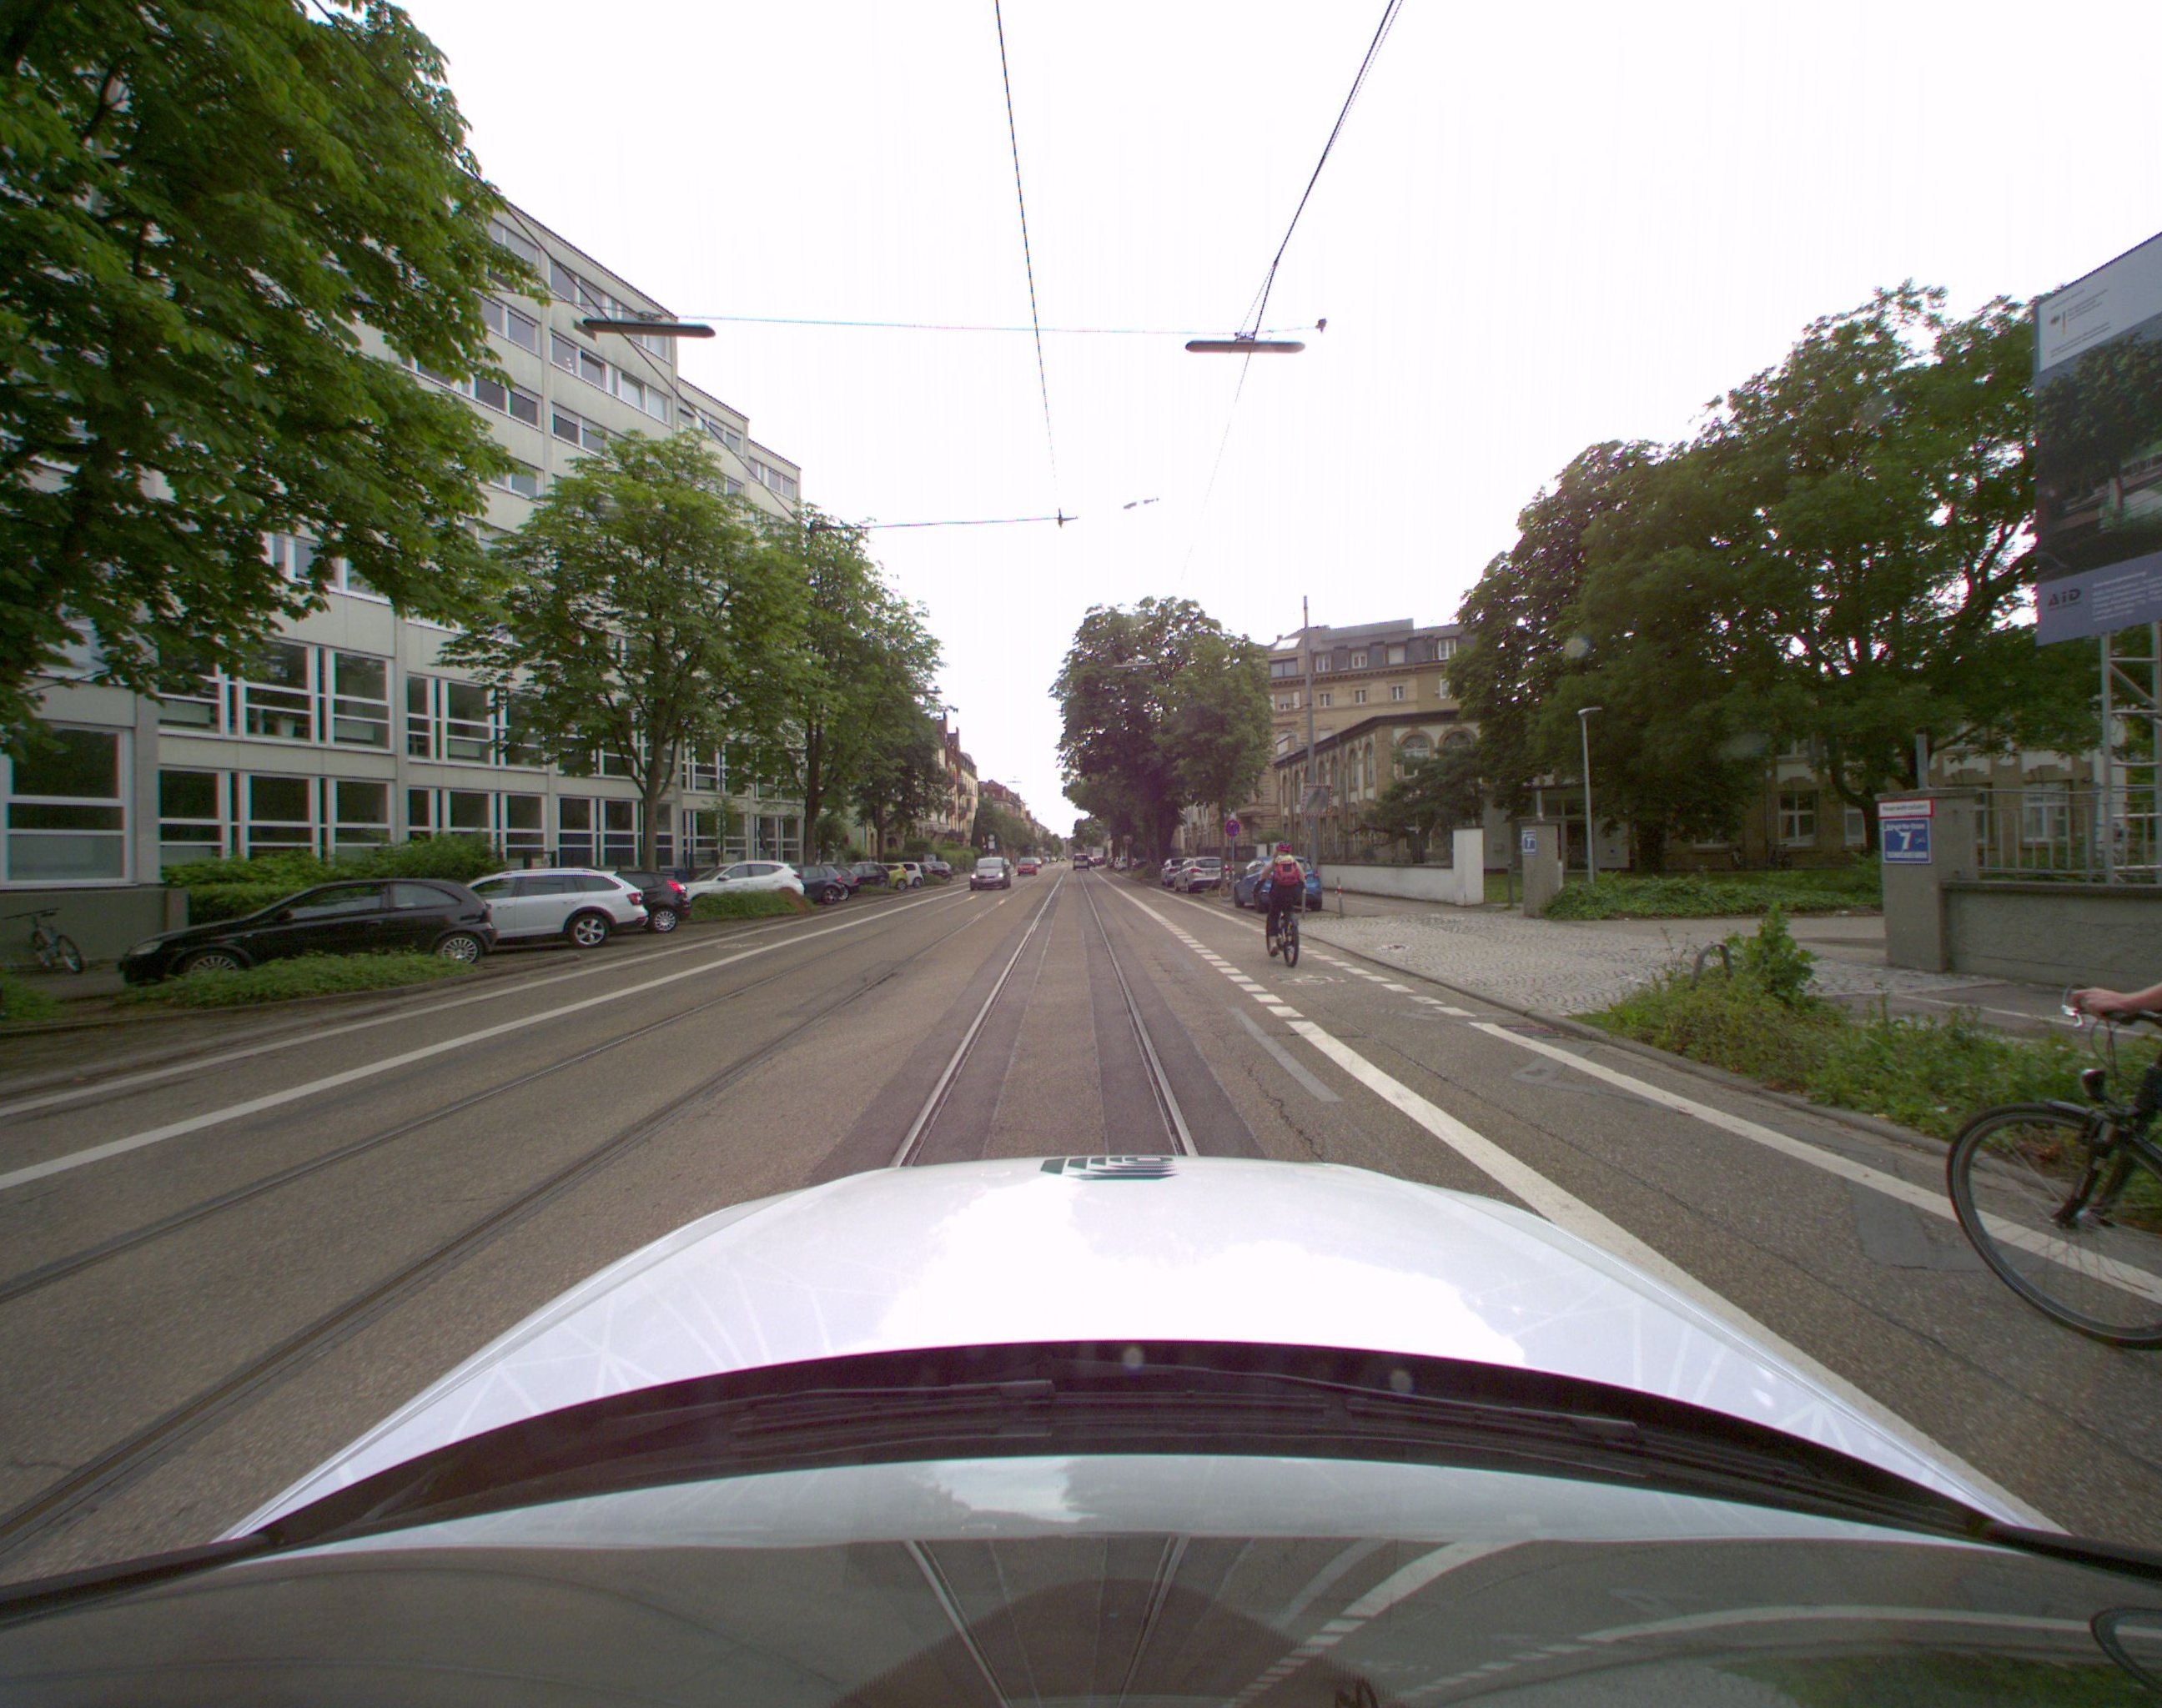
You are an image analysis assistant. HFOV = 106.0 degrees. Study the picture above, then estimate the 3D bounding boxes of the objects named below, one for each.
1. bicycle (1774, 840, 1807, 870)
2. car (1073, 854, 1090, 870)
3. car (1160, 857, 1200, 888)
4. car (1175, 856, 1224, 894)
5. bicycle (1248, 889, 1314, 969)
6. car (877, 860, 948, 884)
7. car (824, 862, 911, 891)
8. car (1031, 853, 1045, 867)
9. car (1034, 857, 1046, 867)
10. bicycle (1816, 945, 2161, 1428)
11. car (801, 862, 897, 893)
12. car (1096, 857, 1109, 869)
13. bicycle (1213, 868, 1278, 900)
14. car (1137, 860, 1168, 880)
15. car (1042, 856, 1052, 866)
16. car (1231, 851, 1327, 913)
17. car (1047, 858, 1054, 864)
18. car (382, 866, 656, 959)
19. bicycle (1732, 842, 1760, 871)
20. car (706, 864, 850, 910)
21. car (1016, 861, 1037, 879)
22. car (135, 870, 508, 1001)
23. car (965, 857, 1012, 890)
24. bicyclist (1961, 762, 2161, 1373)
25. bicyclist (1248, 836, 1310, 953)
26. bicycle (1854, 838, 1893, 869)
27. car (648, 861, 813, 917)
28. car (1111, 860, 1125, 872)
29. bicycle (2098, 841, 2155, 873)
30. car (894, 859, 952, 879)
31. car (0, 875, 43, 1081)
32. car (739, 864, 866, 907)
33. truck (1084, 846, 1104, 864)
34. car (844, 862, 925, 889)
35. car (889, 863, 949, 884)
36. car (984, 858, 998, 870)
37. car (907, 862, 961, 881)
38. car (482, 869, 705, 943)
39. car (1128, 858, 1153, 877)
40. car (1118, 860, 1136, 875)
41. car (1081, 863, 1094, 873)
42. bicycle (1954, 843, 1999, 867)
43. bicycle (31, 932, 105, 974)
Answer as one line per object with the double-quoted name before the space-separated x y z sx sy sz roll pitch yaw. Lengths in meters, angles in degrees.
"bicycle" 27.969 0.022 32.127 0.611 1.119 2.235 -2 0 33
"car" 0.050 0.888 90.933 1.805 1.708 3.700 0 -1 2
"car" 4.949 0.888 41.084 1.471 1.428 3.564 -2 0 -1
"car" 4.872 0.846 33.975 1.471 1.481 3.564 0 0 -1
"bicycle" 2.883 1.041 11.895 0.488 0.979 2.058 0 0 1
"car" -10.228 1.079 49.535 1.679 1.352 3.992 0 0 44
"car" -10.785 1.098 41.302 1.679 1.352 3.992 0 0 44
"car" -7.999 1.107 152.119 2.196 2.417 4.003 -2 0 3
"car" -6.150 1.204 122.165 1.737 1.429 3.994 -1 0 -4
"bicycle" 3.106 0.913 2.166 0.661 1.117 1.867 1 0 2
"car" -10.786 1.057 38.014 1.679 1.352 3.992 0 0 44
"car" 3.579 1.477 135.973 1.987 1.794 4.000 -1 0 1
"bicycle" 5.377 0.980 26.718 2.008 0.957 0.533 -1 0 -5
"car" 4.826 1.063 55.574 1.866 1.251 4.002 -2 0 2
"car" -8.159 1.623 196.157 2.198 2.255 3.999 -2 0 -1
"car" 5.253 0.709 22.025 1.669 1.460 3.431 -3 0 -1
"car" -8.550 2.066 229.830 1.765 1.643 3.569 -2 0 3
"car" -10.390 0.985 15.280 4.048 1.484 1.680 0 0 -39
"bicycle" 26.821 0.075 32.863 0.611 1.119 2.235 -2 0 33
"car" -10.430 1.081 28.282 1.679 1.454 4.372 0 0 44
"car" -4.632 1.374 69.259 1.672 1.522 2.779 0 -1 -3
"car" -10.712 1.027 11.773 1.679 1.524 3.727 0 0 45
"car" -4.605 0.938 40.836 1.895 1.530 3.752 -3 0 -1
"bicyclist" 3.102 0.548 2.074 0.659 1.569 0.986 0 0 2
"bicyclist" 2.845 0.560 11.795 0.655 1.610 0.920 -1 0 1
"bicycle" 30.220 -0.026 31.092 0.611 1.119 2.235 -2 0 33
"car" -10.647 0.991 25.005 1.678 1.556 4.373 0 0 40
"car" 4.638 1.453 102.803 1.763 1.399 3.796 -2 0 2
"bicycle" 36.169 0.095 28.208 0.391 1.065 1.839 -1 0 25
"car" -11.246 1.071 57.954 3.725 1.386 1.686 0 0 -25
"car" -9.919 0.940 5.291 1.679 1.524 3.727 0 0 45
"car" -10.697 1.164 31.522 1.679 1.535 4.372 0 0 44
"truck" 3.072 0.177 191.719 3.800 4.029 10.204 -1 0 -4
"car" -10.664 1.135 44.356 1.679 1.352 3.992 0 0 44
"car" -10.975 1.284 55.169 3.725 1.386 1.686 0 0 -25
"car" -17.233 1.916 156.801 2.170 2.207 4.218 -2 0 0
"car" -11.045 1.284 61.264 3.725 1.386 1.686 0 0 -25
"car" -10.730 1.068 18.058 4.048 1.405 1.680 0 0 -39
"car" 4.623 1.035 63.752 1.784 1.399 3.796 -2 0 2
"car" 4.632 1.356 82.669 1.660 1.399 3.662 -2 0 2
"car" 1.013 2.045 121.739 1.763 1.399 3.796 -2 0 2
"bicycle" 32.870 0.025 29.927 0.611 0.813 1.957 -2 0 33
"bicycle" -16.299 1.584 13.098 1.253 0.536 0.348 3 2 19
